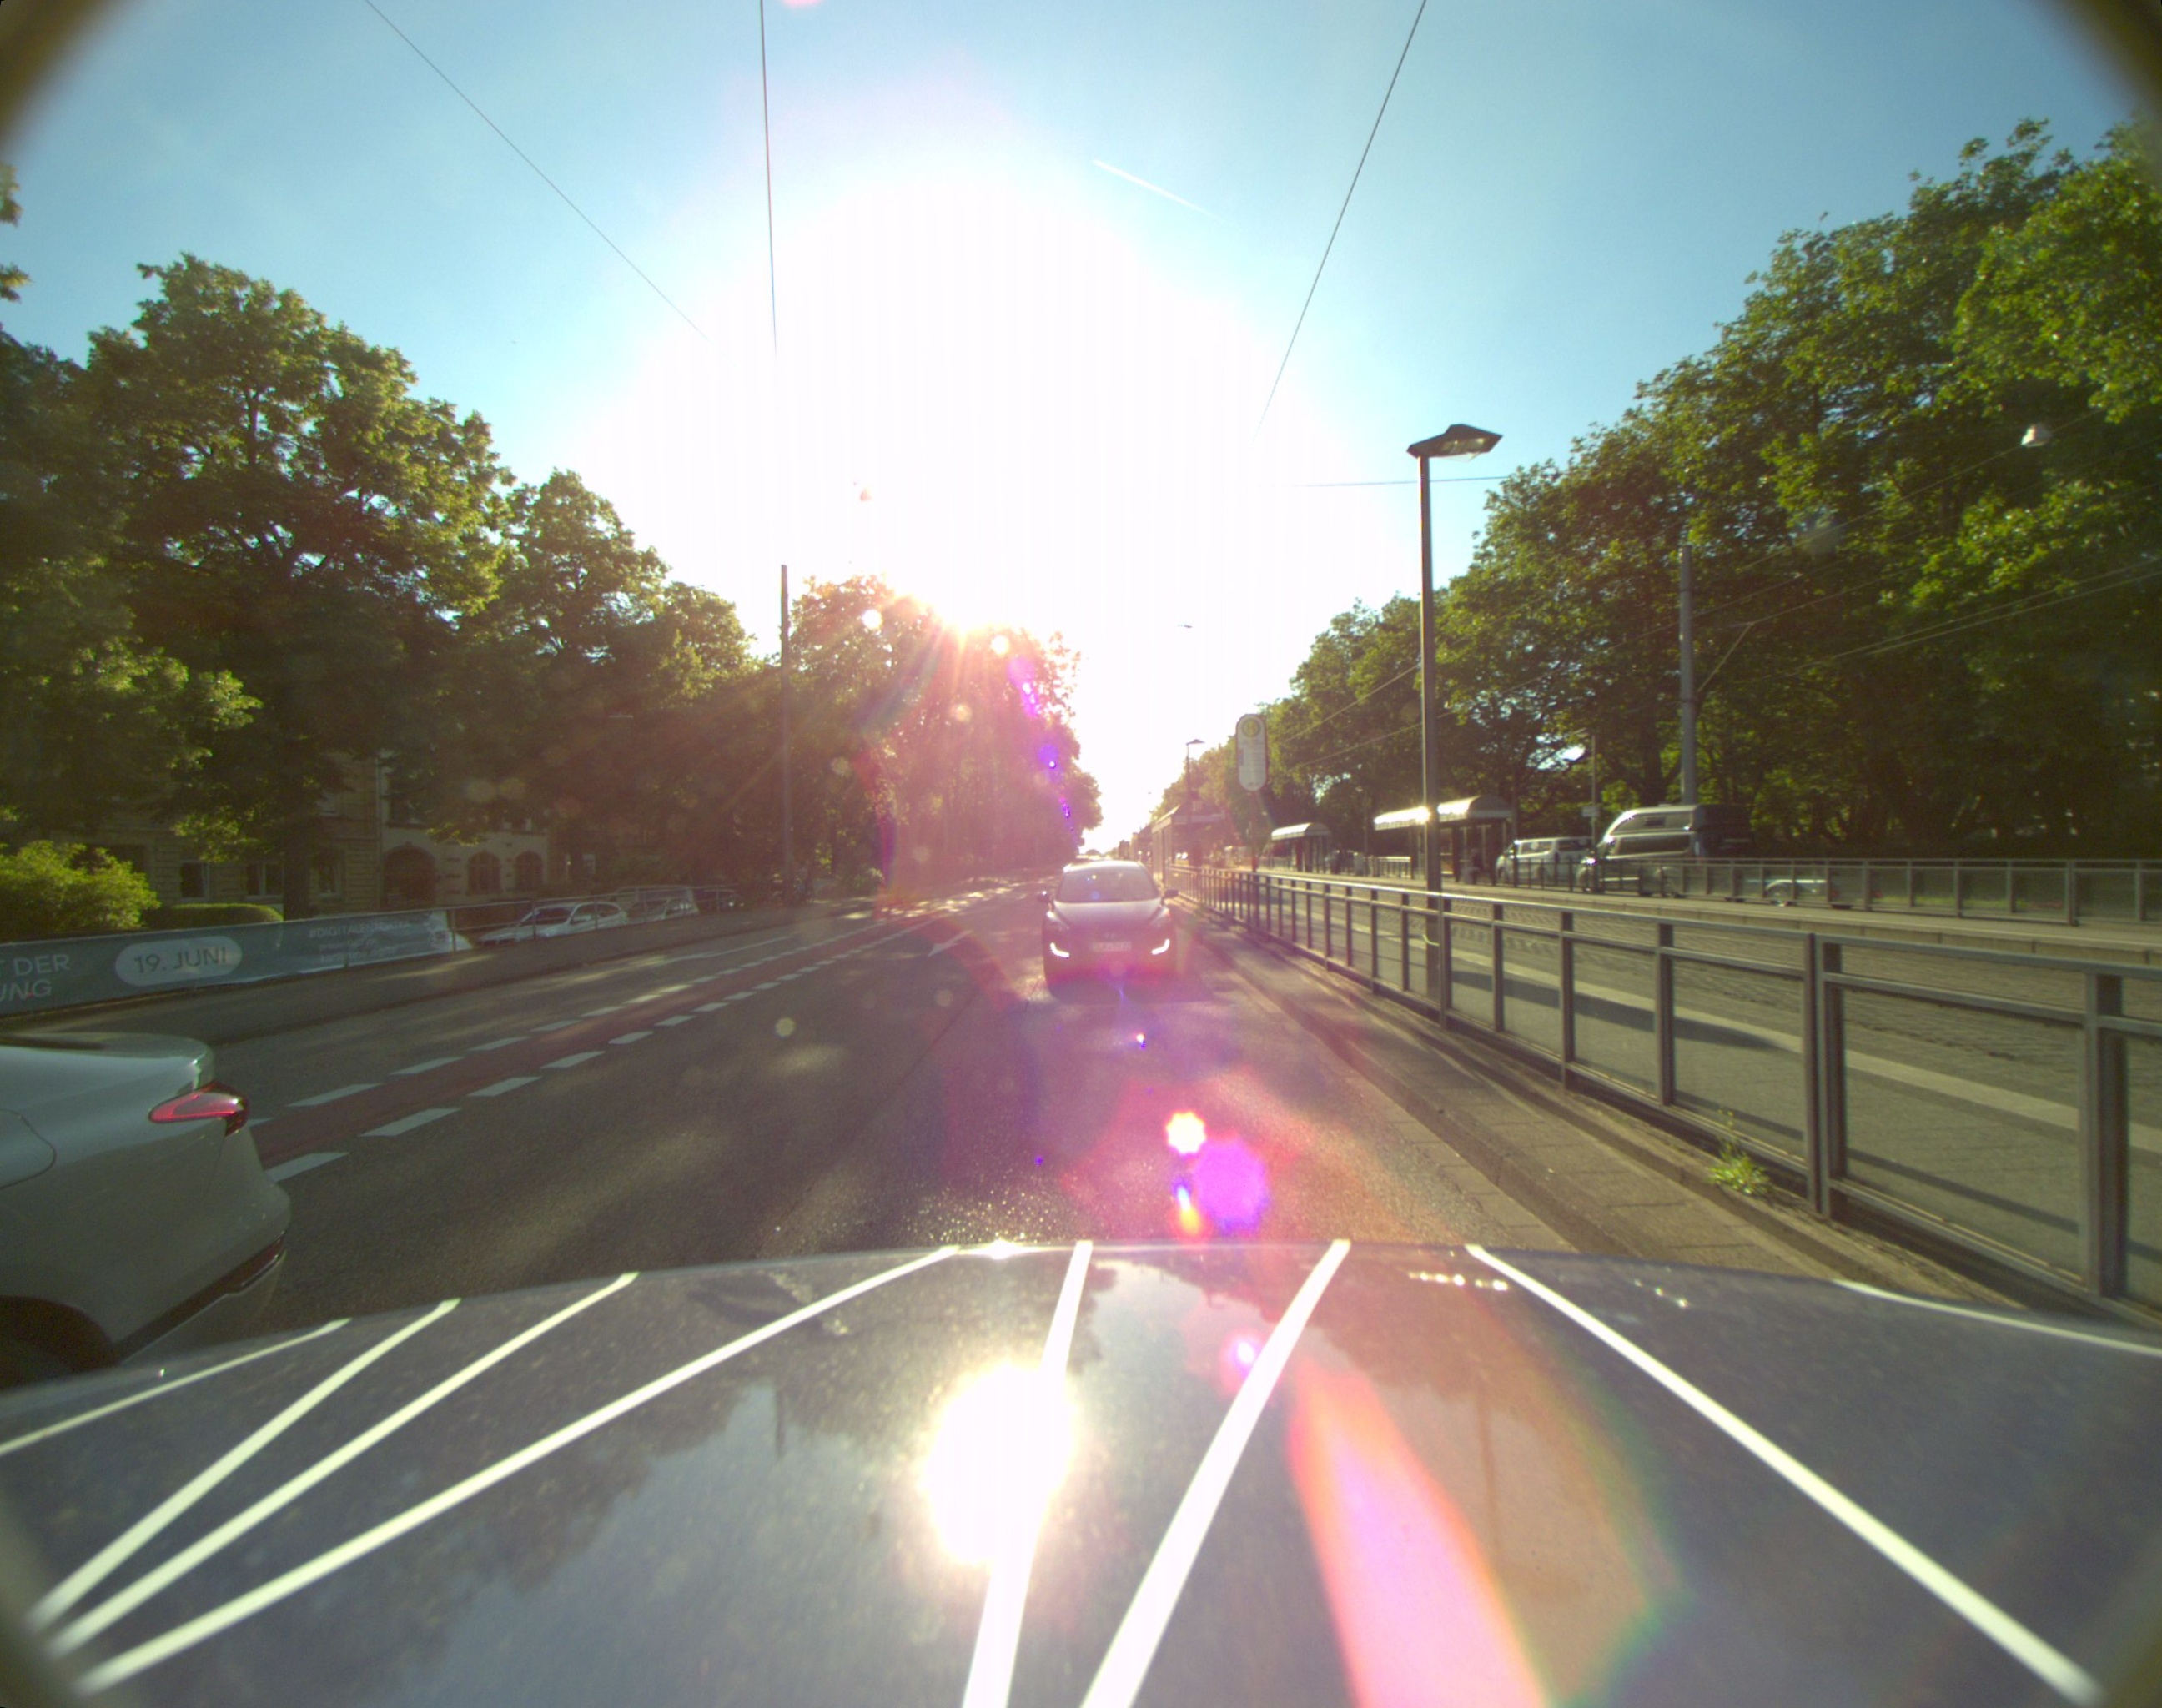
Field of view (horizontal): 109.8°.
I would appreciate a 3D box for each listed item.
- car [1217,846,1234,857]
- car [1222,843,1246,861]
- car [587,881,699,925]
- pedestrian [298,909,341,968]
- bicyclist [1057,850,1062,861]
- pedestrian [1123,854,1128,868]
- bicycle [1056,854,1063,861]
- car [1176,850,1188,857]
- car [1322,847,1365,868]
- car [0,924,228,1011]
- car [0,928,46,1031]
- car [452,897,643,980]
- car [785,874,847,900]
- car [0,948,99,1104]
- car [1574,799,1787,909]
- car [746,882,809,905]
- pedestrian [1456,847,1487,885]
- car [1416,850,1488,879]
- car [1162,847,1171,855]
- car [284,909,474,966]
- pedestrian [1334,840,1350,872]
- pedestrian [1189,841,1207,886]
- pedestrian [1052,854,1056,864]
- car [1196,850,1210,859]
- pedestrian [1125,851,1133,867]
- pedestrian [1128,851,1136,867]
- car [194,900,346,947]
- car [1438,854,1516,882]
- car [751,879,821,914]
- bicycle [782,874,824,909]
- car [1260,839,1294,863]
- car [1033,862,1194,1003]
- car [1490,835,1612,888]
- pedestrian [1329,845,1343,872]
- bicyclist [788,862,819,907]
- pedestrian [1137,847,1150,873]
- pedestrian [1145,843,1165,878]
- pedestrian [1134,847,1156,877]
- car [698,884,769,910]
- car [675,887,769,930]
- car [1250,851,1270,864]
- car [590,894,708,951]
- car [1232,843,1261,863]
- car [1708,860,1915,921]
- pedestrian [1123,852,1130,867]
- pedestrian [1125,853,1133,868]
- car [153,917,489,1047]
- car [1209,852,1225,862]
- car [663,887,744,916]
[{"bbox_3d":[21.906,-0.372,115.203,1.743,1.718,3.881,0,1,-1],"label":"car"},{"bbox_3d":[21.780,-0.271,108.537,2.189,2.506,6.048,0,1,-1],"label":"car"},{"bbox_3d":[-21.440,2.357,37.311,4.690,1.954,1.868,0,0,-31],"label":"car"},{"bbox_3d":[-23.805,2.627,23.761,0.650,1.736,0.631,-1,1,-4],"label":"pedestrian"},{"bbox_3d":[-3.542,0.278,124.335,0.700,1.718,1.081,-1,0,9],"label":"bicyclist"},{"bbox_3d":[4.258,0.656,72.918,0.417,1.313,0.359,1,1,1],"label":"pedestrian"},{"bbox_3d":[-3.532,0.634,124.339,0.700,1.101,1.931,-1,0,9],"label":"bicycle"},{"bbox_3d":[21.050,-0.098,158.783,1.832,1.497,4.393,0,1,-1],"label":"car"},{"bbox_3d":[21.019,0.241,60.989,1.908,1.642,3.971,0,1,-2],"label":"car"},{"bbox_3d":[-21.531,2.392,16.248,4.006,1.505,1.796,0,-1,-29],"label":"car"},{"bbox_3d":[-21.116,2.271,12.795,4.008,1.724,1.795,0,-1,-36],"label":"car"},{"bbox_3d":[-14.076,2.155,20.453,1.799,1.570,4.552,-2,1,1],"label":"car"},{"bbox_3d":[-21.314,2.625,61.160,4.470,2.002,1.992,0,0,-29],"label":"car"},{"bbox_3d":[-14.166,2.242,8.196,1.799,1.792,4.208,-3,1,-6],"label":"car"},{"bbox_3d":[16.984,-0.042,21.953,2.072,2.727,5.029,-2,1,-1],"label":"car"},{"bbox_3d":[-21.919,2.840,54.869,4.007,1.501,1.796,0,-1,-31],"label":"car"},{"bbox_3d":[14.042,0.429,27.339,0.671,1.317,0.757,1,1,-1],"label":"pedestrian"},{"bbox_3d":[20.480,0.537,42.134,1.799,1.501,4.340,0,1,-1],"label":"car"},{"bbox_3d":[21.713,-0.825,193.158,1.832,1.830,4.393,0,1,-1],"label":"car"},{"bbox_3d":[-20.964,2.480,22.806,3.997,1.505,1.800,0,0,-1],"label":"car"},{"bbox_3d":[14.750,0.110,42.999,0.649,1.762,0.650,-2,1,4],"label":"pedestrian"},{"bbox_3d":[4.417,0.363,28.687,0.596,1.668,0.589,-2,1,6],"label":"pedestrian"},{"bbox_3d":[-4.581,0.837,129.927,0.649,1.626,0.928,1,1,2],"label":"pedestrian"},{"bbox_3d":[21.649,0.078,134.855,1.743,1.428,3.851,0,1,-1],"label":"car"},{"bbox_3d":[4.701,0.482,74.077,0.520,1.559,0.509,2,1,31],"label":"pedestrian"},{"bbox_3d":[4.990,0.464,74.477,0.520,1.559,0.509,2,1,31],"label":"pedestrian"},{"bbox_3d":[-29.742,2.528,27.965,3.575,1.513,1.800,0,0,-2],"label":"car"},{"bbox_3d":[20.482,0.682,39.495,1.774,1.284,4.314,0,1,-1],"label":"car"},{"bbox_3d":[-14.247,2.023,36.902,1.799,1.301,3.999,-2,1,0],"label":"car"},{"bbox_3d":[-9.681,1.296,26.550,0.768,1.101,1.800,-1,0,1],"label":"bicycle"},{"bbox_3d":[22.050,-0.362,85.586,2.189,2.506,6.031,0,1,-1],"label":"car"},{"bbox_3d":[0.406,0.930,10.772,1.798,1.501,4.000,-2,0,1],"label":"car"},{"bbox_3d":[20.252,0.271,33.072,2.072,2.112,5.089,0,1,-1],"label":"car"},{"bbox_3d":[14.695,0.256,43.786,0.594,1.535,0.626,-2,1,2],"label":"pedestrian"},{"bbox_3d":[-9.678,1.061,26.522,0.768,1.504,0.650,-1,1,1],"label":"bicyclist"},{"bbox_3d":[4.107,0.404,50.358,0.744,1.685,0.791,-3,1,2],"label":"pedestrian"},{"bbox_3d":[3.740,0.317,38.469,0.654,1.712,0.708,-3,1,-34],"label":"pedestrian"},{"bbox_3d":[3.683,0.459,43.645,0.800,1.624,0.868,-3,0,39],"label":"pedestrian"},{"bbox_3d":[-22.490,2.745,49.159,4.007,1.501,1.796,0,-1,-31],"label":"car"},{"bbox_3d":[-14.170,2.127,30.280,1.799,1.301,3.999,-2,1,0],"label":"car"},{"bbox_3d":[22.197,0.380,94.301,1.656,1.504,3.264,0,1,-2],"label":"car"},{"bbox_3d":[-14.024,2.183,24.912,1.799,1.433,3.576,-2,1,0],"label":"car"},{"bbox_3d":[21.889,-0.191,100.682,2.189,2.506,6.269,0,1,-2],"label":"car"},{"bbox_3d":[17.094,0.805,17.973,2.072,1.156,2.911,-2,1,-1],"label":"car"},{"bbox_3d":[4.409,0.531,73.439,0.591,1.511,0.514,1,1,2],"label":"pedestrian"},{"bbox_3d":[4.555,0.615,72.351,0.592,1.398,0.558,0,1,-19],"label":"pedestrian"},{"bbox_3d":[-13.947,2.248,14.442,1.799,1.570,4.442,-2,1,1],"label":"car"},{"bbox_3d":[21.656,0.434,121.092,1.743,1.546,3.881,0,1,-1],"label":"car"},{"bbox_3d":[-21.491,2.675,43.281,3.932,1.443,1.685,0,-1,-33],"label":"car"}]
